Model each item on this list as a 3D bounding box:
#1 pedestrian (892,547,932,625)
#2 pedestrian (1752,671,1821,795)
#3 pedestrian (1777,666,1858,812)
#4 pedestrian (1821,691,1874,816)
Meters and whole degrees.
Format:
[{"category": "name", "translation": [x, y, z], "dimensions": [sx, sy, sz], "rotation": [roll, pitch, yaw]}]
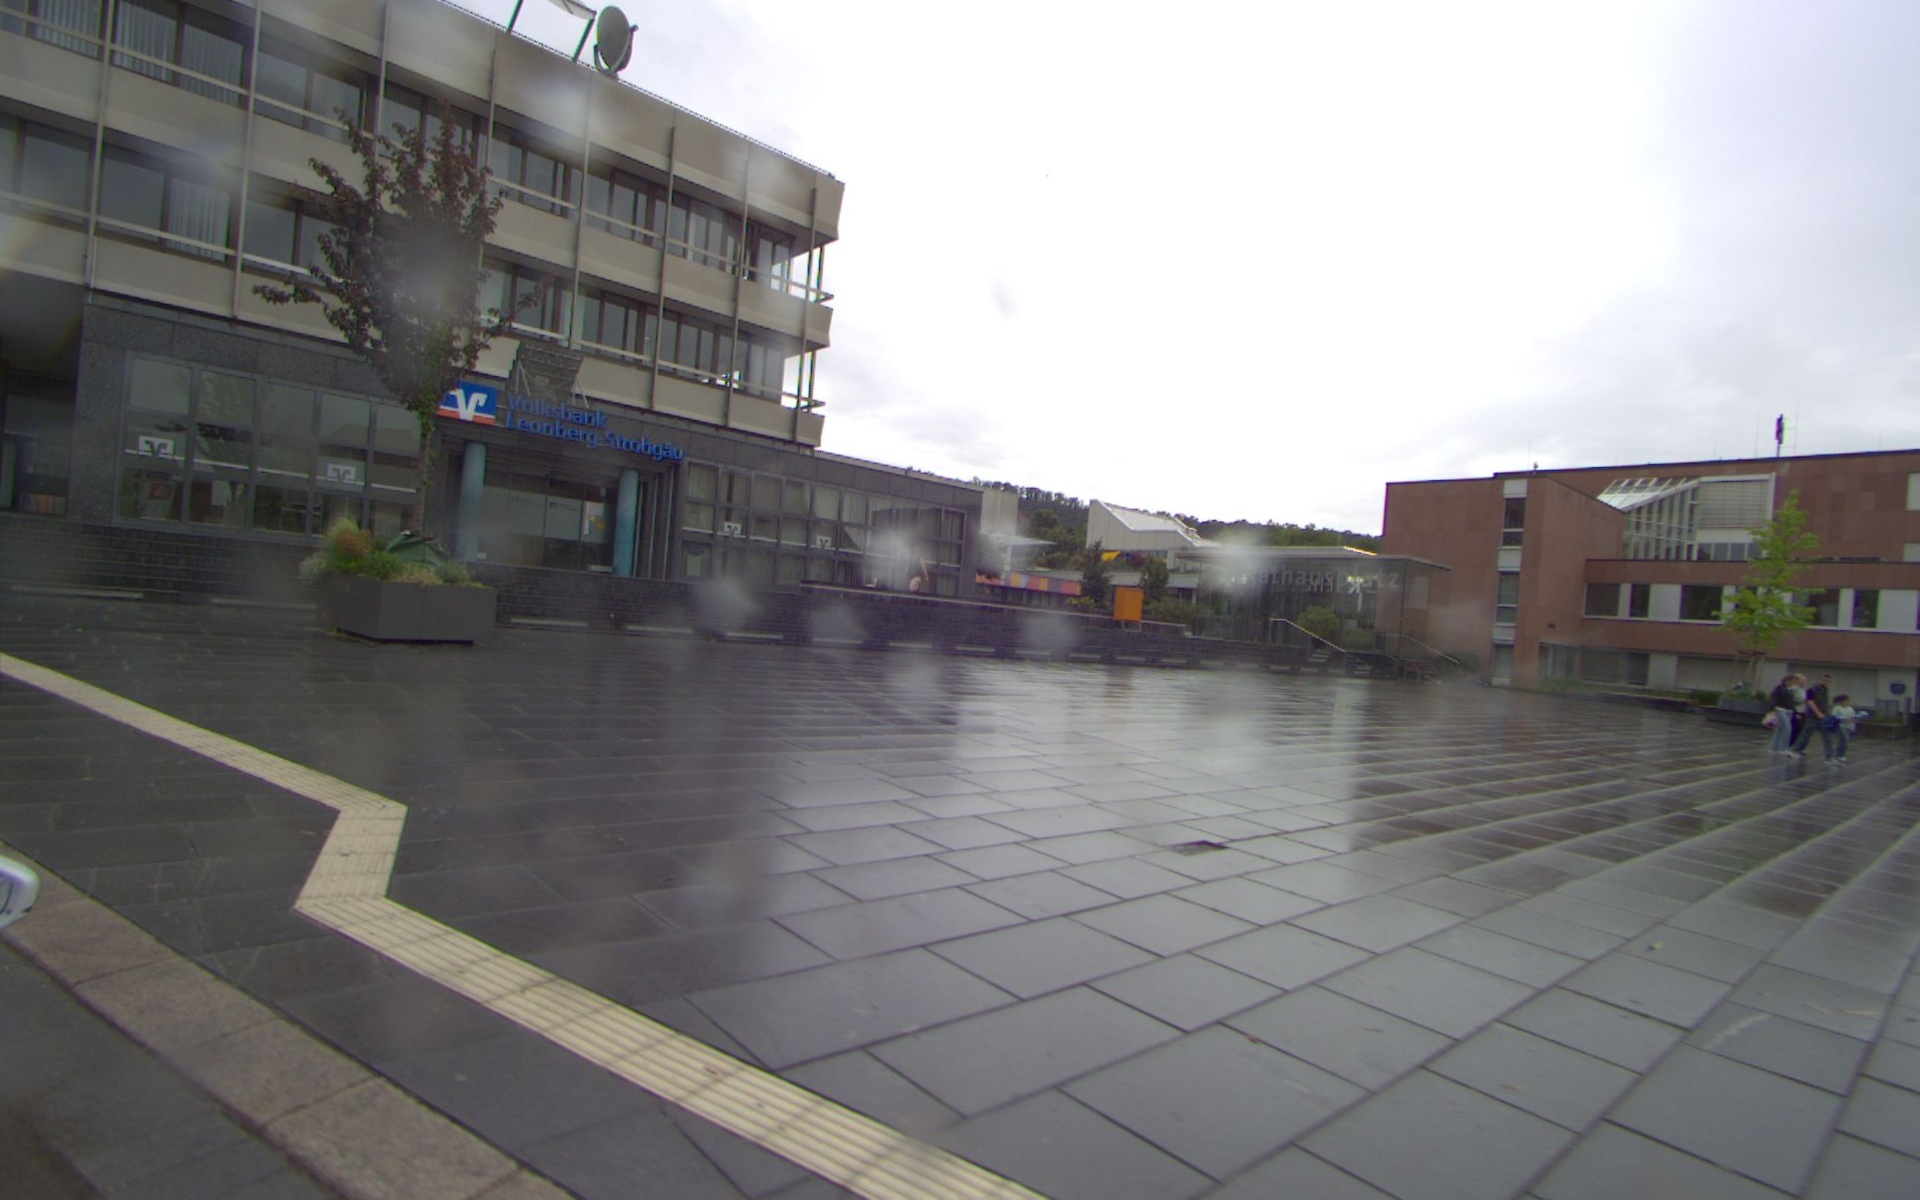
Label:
[{"category": "pedestrian", "translation": [-1.388, -0.404, 28.909], "dimensions": [0.753, 2.175, 0.652], "rotation": [4, 2, -37]}, {"category": "pedestrian", "translation": [17.349, 2.765, 21.120], "dimensions": [0.936, 2.471, 0.768], "rotation": [4, 2, -40]}, {"category": "pedestrian", "translation": [16.944, 2.718, 19.880], "dimensions": [1.047, 2.719, 0.824], "rotation": [4, 2, -37]}, {"category": "pedestrian", "translation": [18.318, 3.143, 20.762], "dimensions": [0.731, 2.471, 0.563], "rotation": [4, 2, -42]}]
